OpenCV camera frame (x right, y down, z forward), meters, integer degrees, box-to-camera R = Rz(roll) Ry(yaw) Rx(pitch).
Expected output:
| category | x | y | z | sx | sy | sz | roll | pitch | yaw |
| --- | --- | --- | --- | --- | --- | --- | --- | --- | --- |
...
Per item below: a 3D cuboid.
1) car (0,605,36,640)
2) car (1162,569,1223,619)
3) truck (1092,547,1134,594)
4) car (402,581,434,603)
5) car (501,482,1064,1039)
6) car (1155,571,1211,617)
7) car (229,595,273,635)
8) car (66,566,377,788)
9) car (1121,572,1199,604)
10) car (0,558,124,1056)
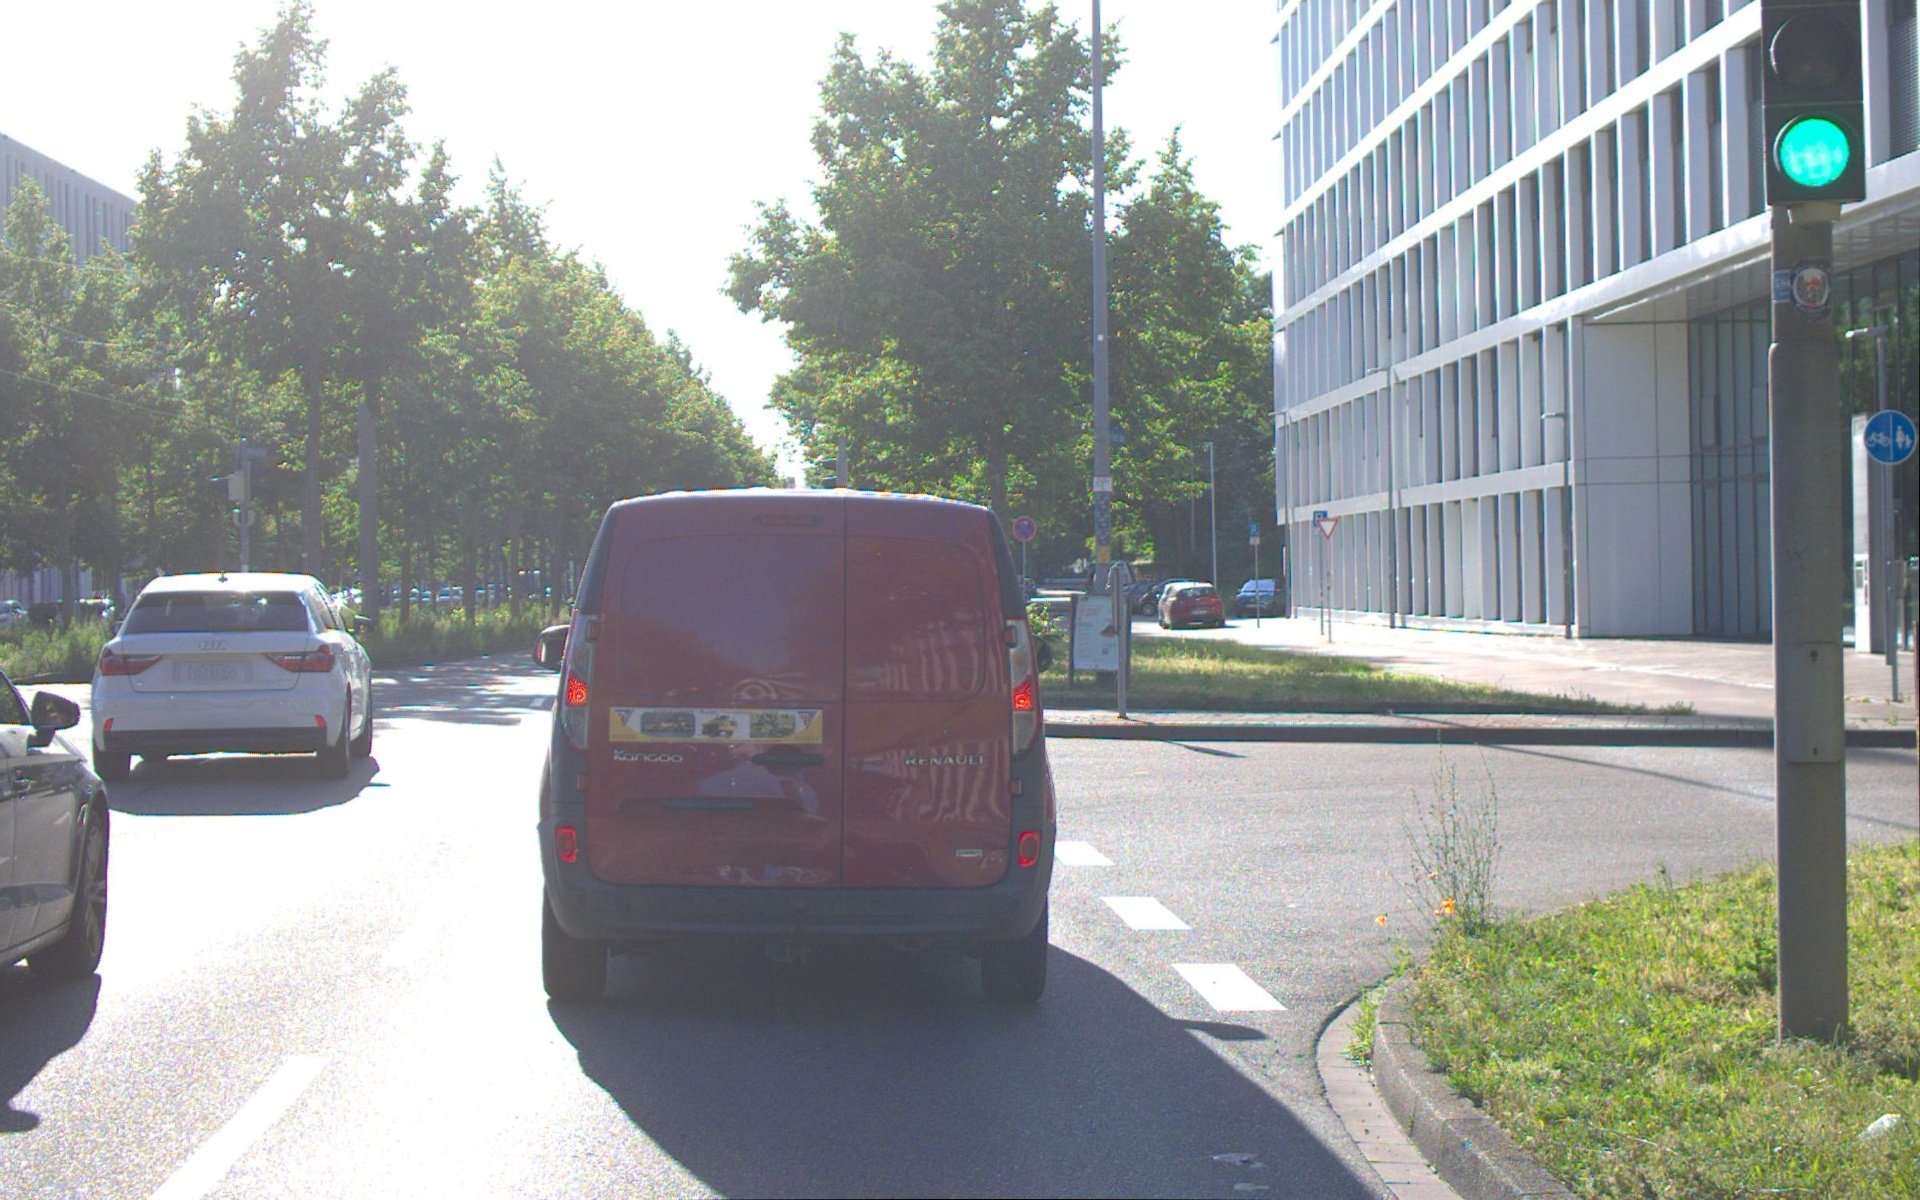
| category | x | y | z | sx | sy | sz | roll | pitch | yaw |
| --- | --- | --- | --- | --- | --- | --- | --- | --- | --- |
| car | -37.559 | 0.880 | 135.073 | 1.580 | 1.338 | 3.712 | -1 | 0 | -2 |
| car | 7.694 | -0.200 | 113.904 | 1.758 | 1.606 | 3.903 | -1 | 1 | 0 |
| truck | 8.215 | -1.563 | 184.900 | 1.831 | 2.492 | 5.933 | -1 | 0 | -2 |
| car | -39.696 | -0.575 | 251.915 | 1.755 | 1.568 | 4.000 | -1 | 0 | -2 |
| car | -0.589 | 0.502 | 13.281 | 1.808 | 1.788 | 4.113 | -1 | 1 | 0 |
| car | 7.717 | -0.228 | 119.108 | 1.819 | 1.527 | 3.437 | -1 | 0 | 2 |
| car | -38.126 | 0.795 | 184.913 | 1.728 | 2.007 | 4.001 | -1 | 1 | -3 |
| car | -5.240 | 0.489 | 24.854 | 1.807 | 1.430 | 4.114 | -1 | 1 | -7 |
| car | 8.884 | -0.527 | 152.736 | 3.399 | 1.354 | 1.470 | -1 | 0 | 6 |
| car | -3.868 | 0.646 | 10.685 | 1.808 | 1.522 | 4.113 | -1 | 1 | -4 |
